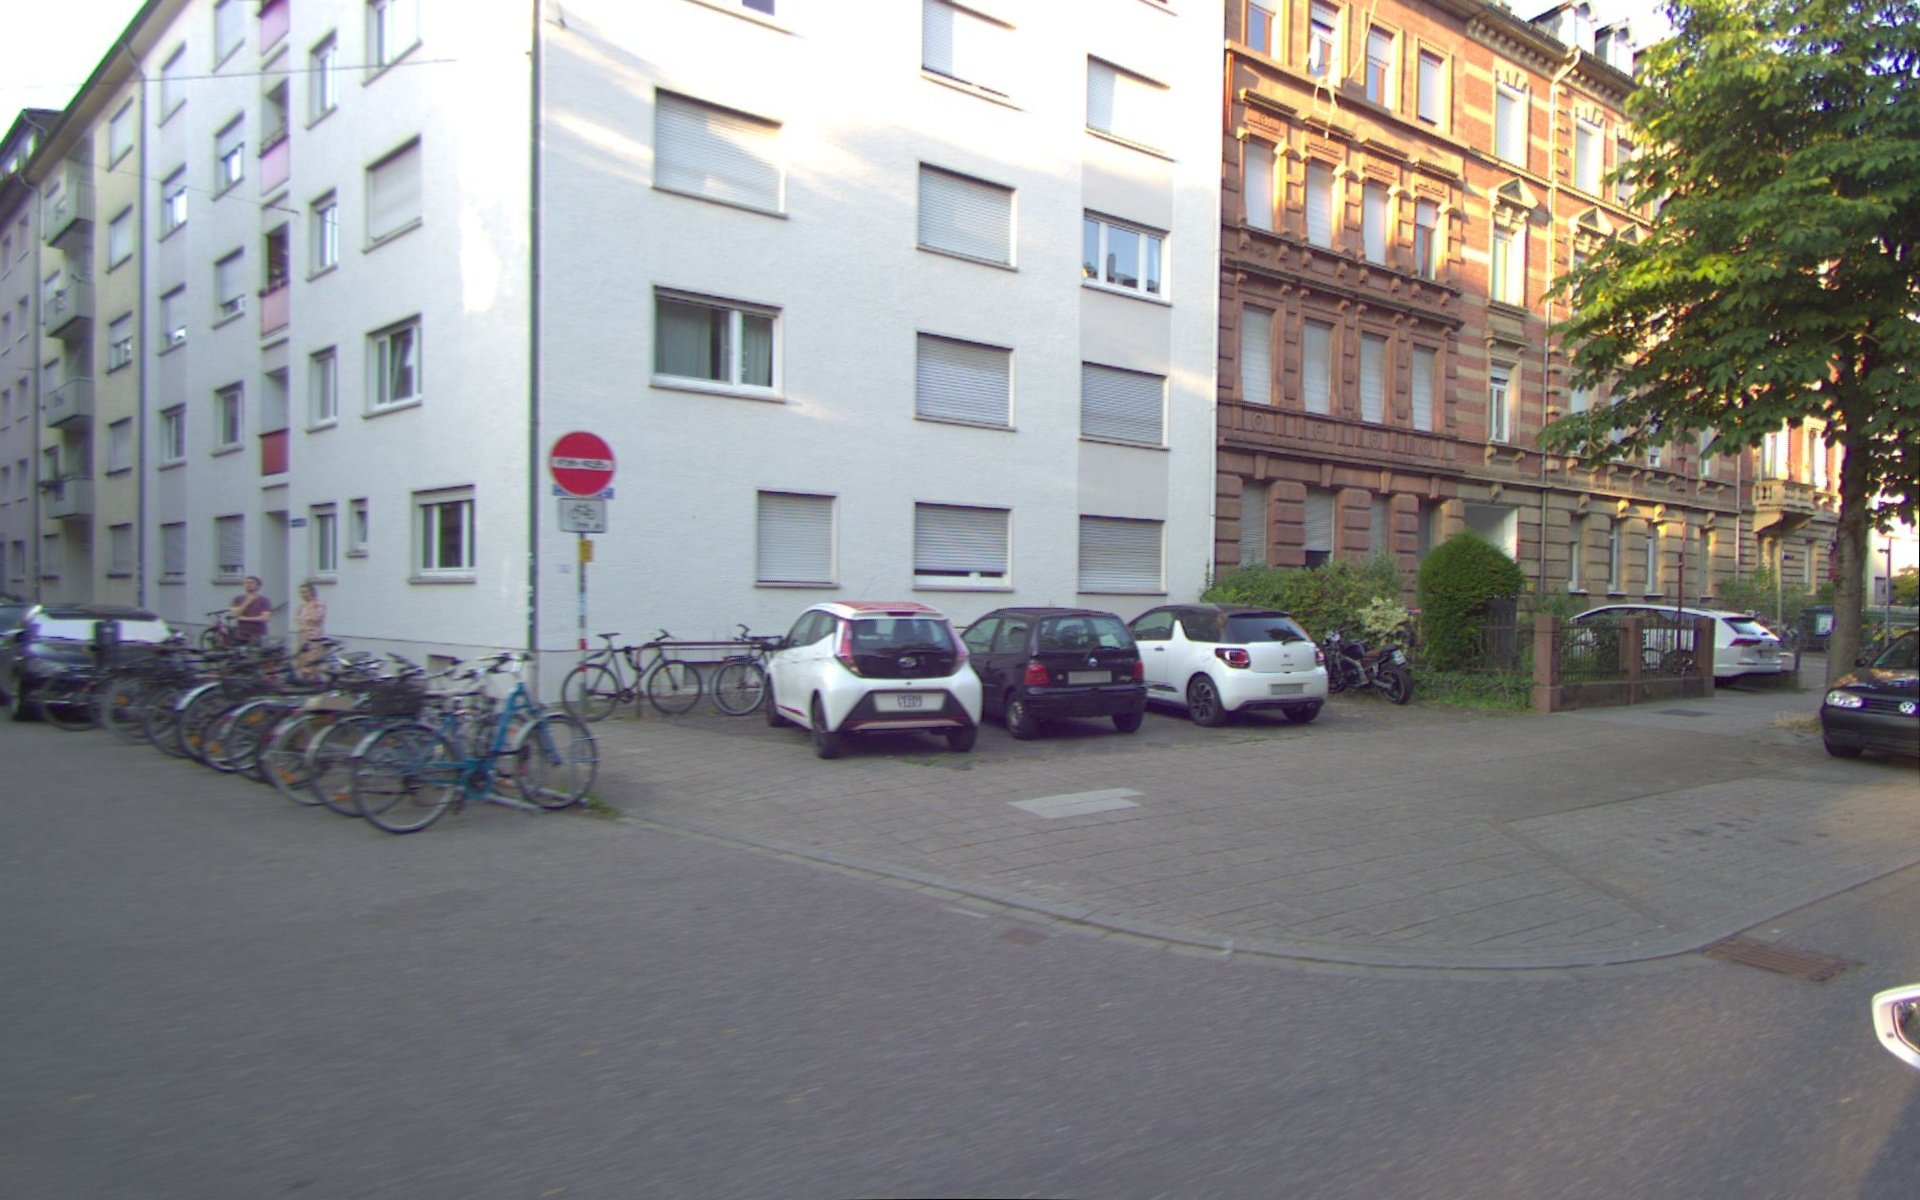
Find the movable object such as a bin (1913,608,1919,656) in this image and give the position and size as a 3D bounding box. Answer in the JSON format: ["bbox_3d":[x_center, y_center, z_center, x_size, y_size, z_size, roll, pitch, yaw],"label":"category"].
[{"bbox_3d":[27.155,0.902,27.639,0.992,1.339,1.009,0,3,-26],"label":"movable object such as a bin"}]

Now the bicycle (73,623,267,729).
[{"bbox_3d":[-9.657,0.888,12.360,0.361,1.181,1.845,1,0,36],"label":"bicycle"}]

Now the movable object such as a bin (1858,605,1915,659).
[{"bbox_3d":[26.393,0.904,28.616,0.998,1.433,1.085,-1,4,-45],"label":"movable object such as a bin"}]

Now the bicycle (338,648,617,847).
[{"bbox_3d":[-3.322,0.958,7.124,0.332,1.197,1.873,1,-1,32],"label":"bicycle"}]

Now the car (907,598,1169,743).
[{"bbox_3d":[0.787,0.743,12.799,1.790,1.467,4.086,0,1,-20],"label":"car"}]

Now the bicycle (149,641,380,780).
[{"bbox_3d":[-6.658,1.008,9.731,0.361,1.167,1.847,1,0,32],"label":"bicycle"}]

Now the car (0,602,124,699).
[{"bbox_3d":[-15.771,0.803,17.082,3.663,1.472,1.683,1,-3,40],"label":"car"}]

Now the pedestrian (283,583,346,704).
[{"bbox_3d":[-9.422,0.614,14.673,0.528,1.706,0.579,2,4,39],"label":"pedestrian"}]

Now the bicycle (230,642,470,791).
[{"bbox_3d":[-5.332,0.972,8.909,0.361,1.124,1.847,1,0,32],"label":"bicycle"}]

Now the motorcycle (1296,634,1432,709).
[{"bbox_3d":[6.186,1.059,15.532,0.579,0.971,2.231,1,1,-21],"label":"motorcycle"}]

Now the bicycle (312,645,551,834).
[{"bbox_3d":[-3.857,0.964,7.471,0.239,1.197,1.675,1,0,32],"label":"bicycle"}]

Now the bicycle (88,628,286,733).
[{"bbox_3d":[-9.172,0.919,11.998,0.361,1.120,1.845,1,0,36],"label":"bicycle"}]

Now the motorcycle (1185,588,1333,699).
[{"bbox_3d":[4.810,0.649,16.436,0.665,1.660,2.846,1,0,-22],"label":"motorcycle"}]

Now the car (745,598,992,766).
[{"bbox_3d":[-1.220,0.734,11.269,1.684,1.467,4.084,0,1,-22],"label":"car"}]

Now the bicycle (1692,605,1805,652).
[{"bbox_3d":[23.409,0.827,29.869,0.638,1.208,2.506,-1,4,-41],"label":"bicycle"}]

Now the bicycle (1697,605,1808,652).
[{"bbox_3d":[23.792,0.821,30.220,0.638,1.208,2.506,-1,4,-41],"label":"bicycle"}]

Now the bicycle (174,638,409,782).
[{"bbox_3d":[-6.168,0.965,9.388,0.361,1.167,1.847,1,0,32],"label":"bicycle"}]

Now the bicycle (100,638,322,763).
[{"bbox_3d":[-7.721,0.992,10.460,0.361,1.131,1.847,1,0,32],"label":"bicycle"}]

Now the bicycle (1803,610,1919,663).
[{"bbox_3d":[24.572,0.962,27.264,0.635,1.208,2.520,0,3,-25],"label":"bicycle"}]

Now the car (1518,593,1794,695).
[{"bbox_3d":[13.509,0.770,19.758,1.690,1.548,4.069,1,3,-32],"label":"car"}]

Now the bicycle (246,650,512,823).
[{"bbox_3d":[-4.473,0.997,7.885,0.361,1.124,1.847,1,0,32],"label":"bicycle"}]

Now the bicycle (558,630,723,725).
[{"bbox_3d":[-3.847,0.907,12.169,1.856,1.076,0.394,1,0,-31],"label":"bicycle"}]

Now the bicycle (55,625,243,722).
[{"bbox_3d":[-10.326,0.900,12.857,0.361,1.120,1.845,1,0,36],"label":"bicycle"}]

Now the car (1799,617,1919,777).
[{"bbox_3d":[10.796,0.955,10.660,3.913,1.490,1.609,0,1,-29],"label":"car"}]

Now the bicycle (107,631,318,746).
[{"bbox_3d":[-8.256,0.937,11.181,0.395,1.131,1.844,1,0,38],"label":"bicycle"}]

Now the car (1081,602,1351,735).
[{"bbox_3d":[3.276,0.796,13.541,1.791,1.467,3.556,0,1,-22],"label":"car"}]

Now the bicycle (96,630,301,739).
[{"bbox_3d":[-8.628,0.918,11.471,0.361,1.120,1.845,1,0,36],"label":"bicycle"}]

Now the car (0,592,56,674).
[{"bbox_3d":[-20.200,0.628,20.700,3.940,1.576,1.833,1,1,40],"label":"car"}]

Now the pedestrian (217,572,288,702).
[{"bbox_3d":[-10.157,0.514,14.426,0.494,1.789,0.621,2,5,37],"label":"pedestrian"}]

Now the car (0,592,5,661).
[{"bbox_3d":[-23.839,0.583,23.434,4.045,1.572,1.837,1,0,40],"label":"car"}]

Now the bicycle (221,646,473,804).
[{"bbox_3d":[-5.098,0.985,8.494,0.361,1.124,1.847,1,0,32],"label":"bicycle"}]

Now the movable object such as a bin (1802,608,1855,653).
[{"bbox_3d":[25.972,0.899,30.045,0.998,1.226,1.085,-1,4,-45],"label":"movable object such as a bin"}]

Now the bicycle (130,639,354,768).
[{"bbox_3d":[-7.212,0.993,10.198,0.361,1.131,1.847,1,0,32],"label":"bicycle"}]

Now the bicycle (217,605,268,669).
[{"bbox_3d":[-14.557,0.732,20.368,1.850,1.223,0.395,1,0,40],"label":"bicycle"}]

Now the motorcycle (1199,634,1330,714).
[{"bbox_3d":[4.417,1.044,14.766,0.579,0.971,2.231,1,1,-21],"label":"motorcycle"}]

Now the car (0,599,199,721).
[{"bbox_3d":[-12.530,0.771,14.221,3.653,1.492,1.794,1,-2,36],"label":"car"}]

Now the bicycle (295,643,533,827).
[{"bbox_3d":[-4.068,0.952,7.624,0.239,1.197,1.675,1,0,32],"label":"bicycle"}]
